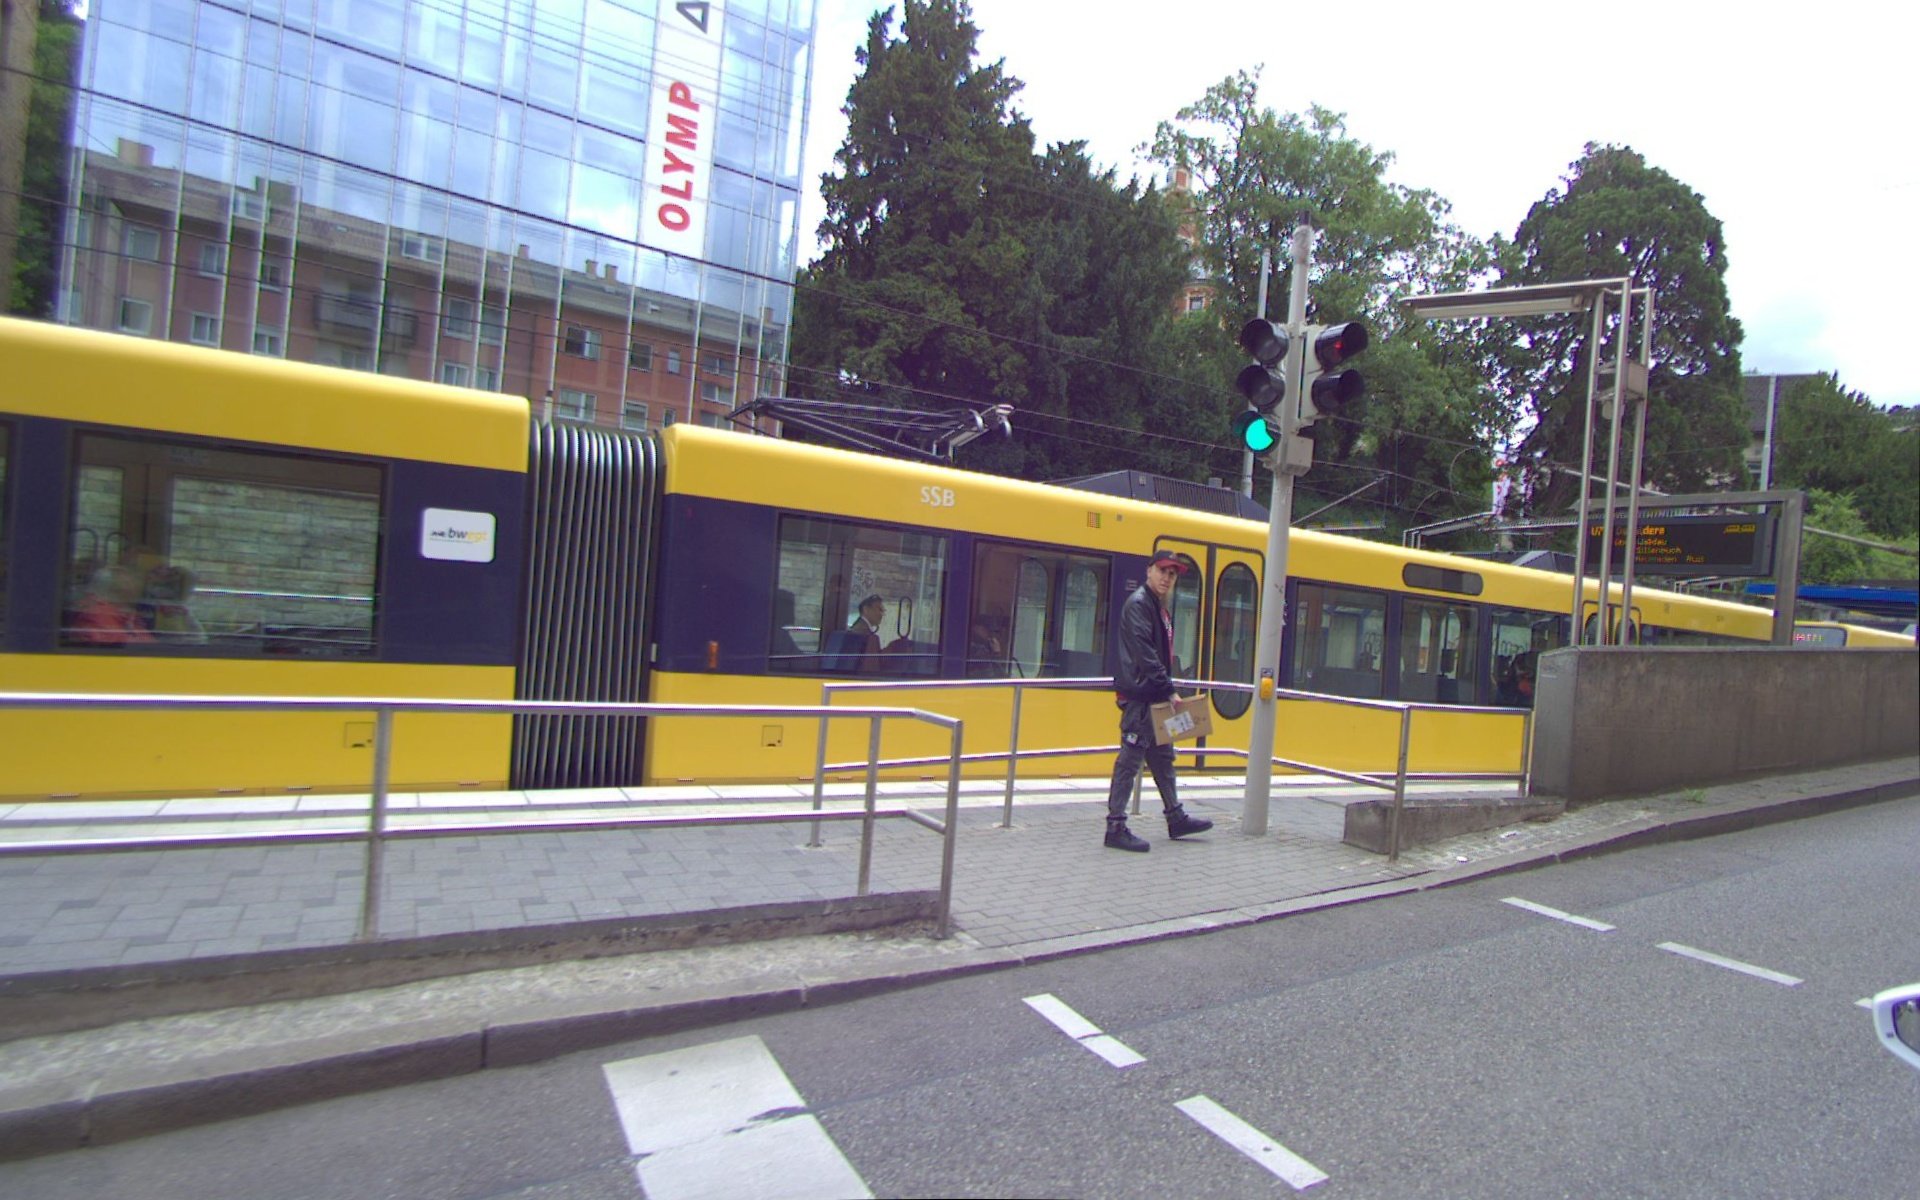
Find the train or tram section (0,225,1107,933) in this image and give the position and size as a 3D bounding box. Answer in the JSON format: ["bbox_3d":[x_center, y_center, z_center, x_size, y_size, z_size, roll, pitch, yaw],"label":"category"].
[{"bbox_3d":[-4.789,-0.051,6.699,12.081,3.516,2.935,6,-2,-30],"label":"train or tram section"}]

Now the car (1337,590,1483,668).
[{"bbox_3d":[13.313,0.870,29.689,3.956,2.040,1.982,3,2,-32],"label":"car"}]

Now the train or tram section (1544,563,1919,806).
[{"bbox_3d":[16.327,1.542,19.233,12.837,3.555,2.935,3,-1,-31],"label":"train or tram section"}]

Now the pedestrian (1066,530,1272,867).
[{"bbox_3d":[1.219,0.523,5.926,0.794,1.801,0.811,1,1,-34],"label":"pedestrian"}]

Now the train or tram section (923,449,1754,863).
[{"bbox_3d":[5.602,0.826,12.897,12.079,3.529,2.935,4,-1,-30],"label":"train or tram section"}]
